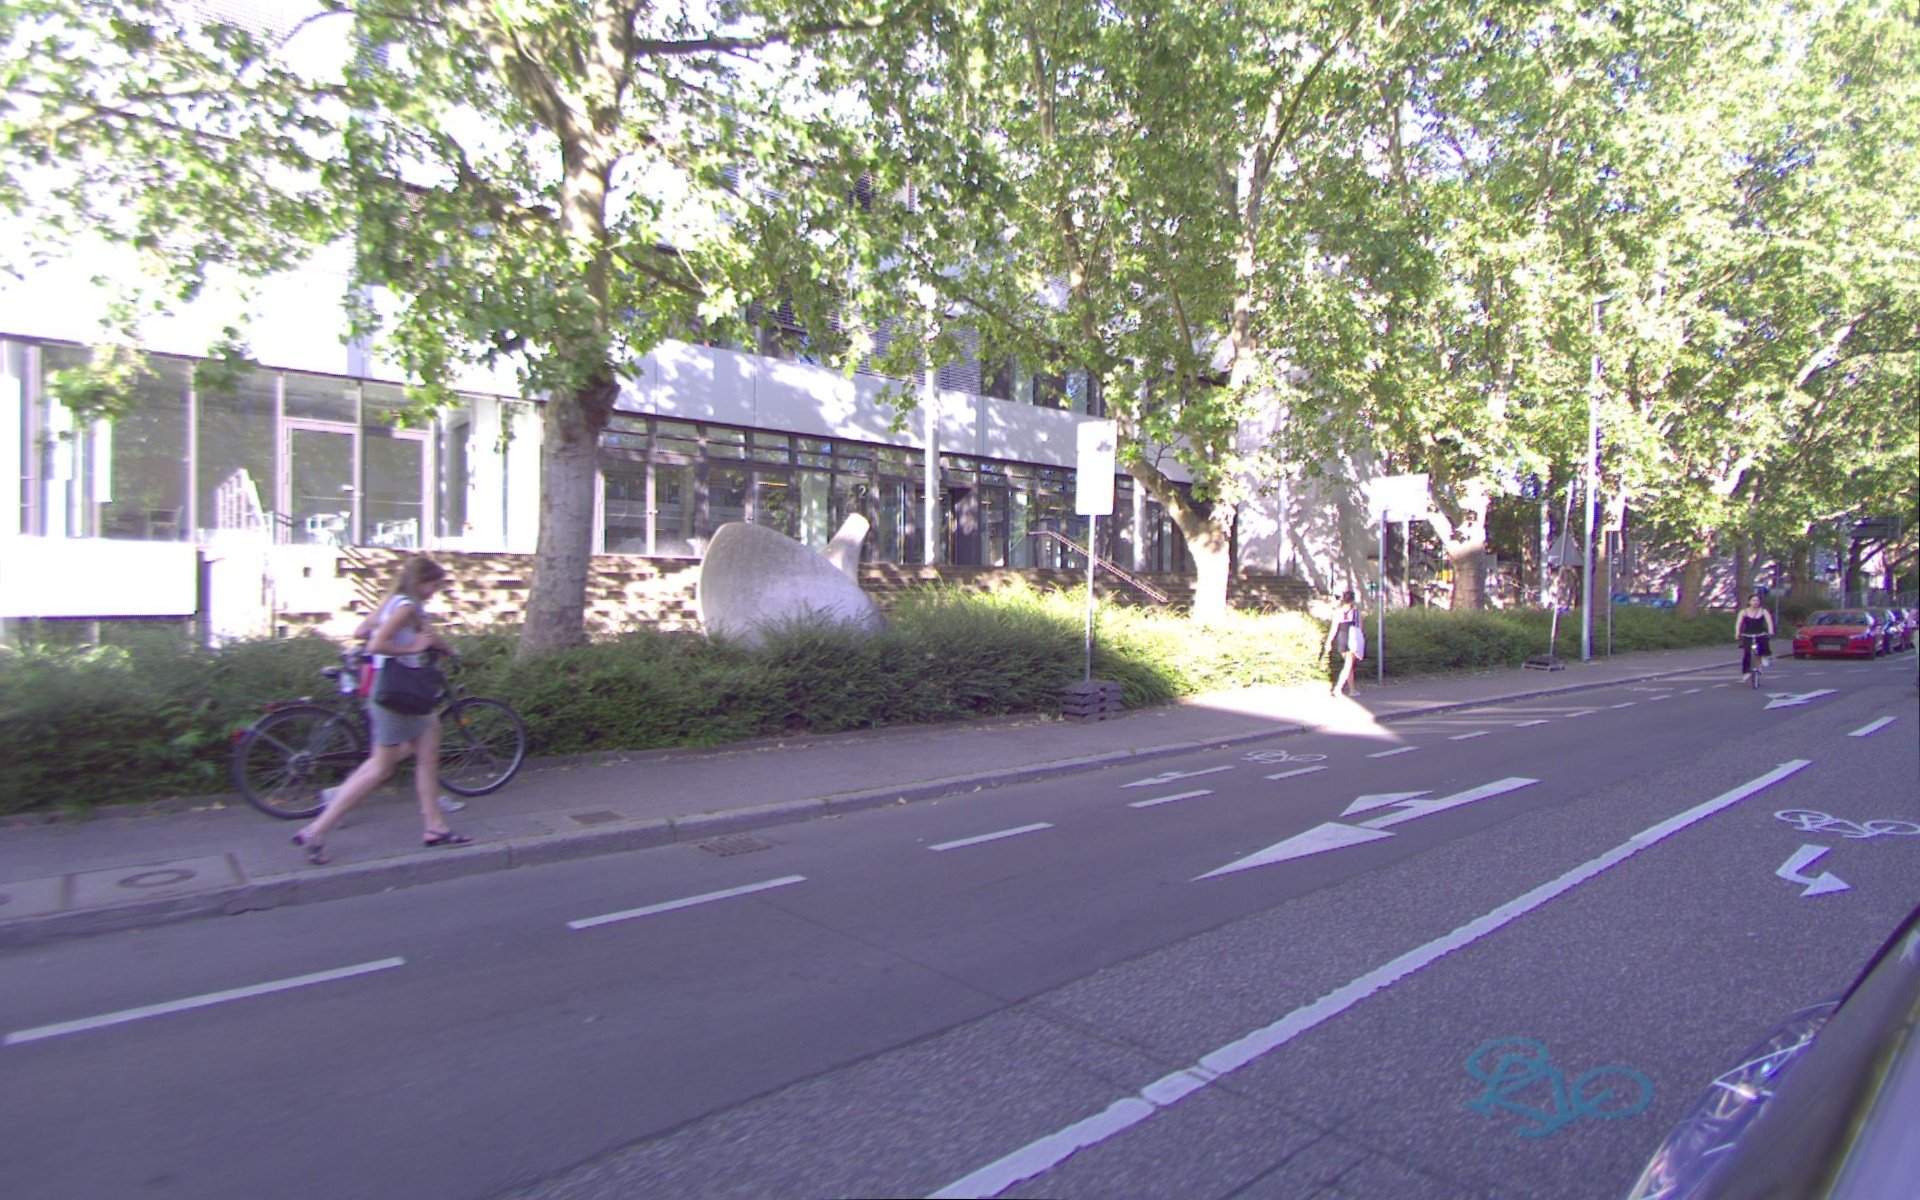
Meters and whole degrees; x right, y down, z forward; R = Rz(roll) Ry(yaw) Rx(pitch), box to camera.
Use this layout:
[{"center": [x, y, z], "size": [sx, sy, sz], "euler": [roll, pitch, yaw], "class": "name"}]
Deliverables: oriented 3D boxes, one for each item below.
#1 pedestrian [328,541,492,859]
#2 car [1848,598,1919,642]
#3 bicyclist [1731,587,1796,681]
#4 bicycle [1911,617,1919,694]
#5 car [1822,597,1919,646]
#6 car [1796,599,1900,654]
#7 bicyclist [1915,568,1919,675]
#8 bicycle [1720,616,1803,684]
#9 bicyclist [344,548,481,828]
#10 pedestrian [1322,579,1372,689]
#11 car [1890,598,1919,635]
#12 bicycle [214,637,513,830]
[{"center": [-3.285, 0.528, 6.039], "size": [0.680, 1.740, 0.775], "euler": [-2, 3, -42], "class": "pedestrian"}, {"center": [33.575, 0.678, 36.389], "size": [4.005, 1.469, 1.897], "euler": [0, 0, -40], "class": "car"}, {"center": [14.931, 0.615, 18.804], "size": [0.880, 1.701, 0.769], "euler": [0, -1, -42], "class": "bicyclist"}, {"center": [16.265, 0.855, 16.578], "size": [2.768, 1.150, 0.769], "euler": [-2, 0, -42], "class": "bicycle"}, {"center": [29.558, 0.662, 32.769], "size": [4.005, 1.466, 1.897], "euler": [0, 0, -40], "class": "car"}, {"center": [26.088, 0.727, 29.691], "size": [4.007, 1.461, 1.896], "euler": [0, 1, -43], "class": "car"}, {"center": [16.311, 0.341, 16.649], "size": [0.885, 1.755, 0.769], "euler": [0, -1, -42], "class": "bicyclist"}, {"center": [14.842, 0.895, 18.708], "size": [2.767, 1.150, 0.769], "euler": [1, -1, -43], "class": "bicycle"}, {"center": [-3.638, 0.528, 6.726], "size": [0.644, 1.734, 0.633], "euler": [-2, 3, -42], "class": "bicyclist"}, {"center": [5.814, 0.489, 15.204], "size": [0.671, 1.614, 0.462], "euler": [0, 0, -42], "class": "pedestrian"}, {"center": [40.578, 0.673, 42.395], "size": [4.005, 1.469, 1.897], "euler": [0, 0, -40], "class": "car"}, {"center": [-3.853, 0.803, 6.621], "size": [1.619, 1.047, 0.521], "euler": [-1, 1, -42], "class": "bicycle"}]
